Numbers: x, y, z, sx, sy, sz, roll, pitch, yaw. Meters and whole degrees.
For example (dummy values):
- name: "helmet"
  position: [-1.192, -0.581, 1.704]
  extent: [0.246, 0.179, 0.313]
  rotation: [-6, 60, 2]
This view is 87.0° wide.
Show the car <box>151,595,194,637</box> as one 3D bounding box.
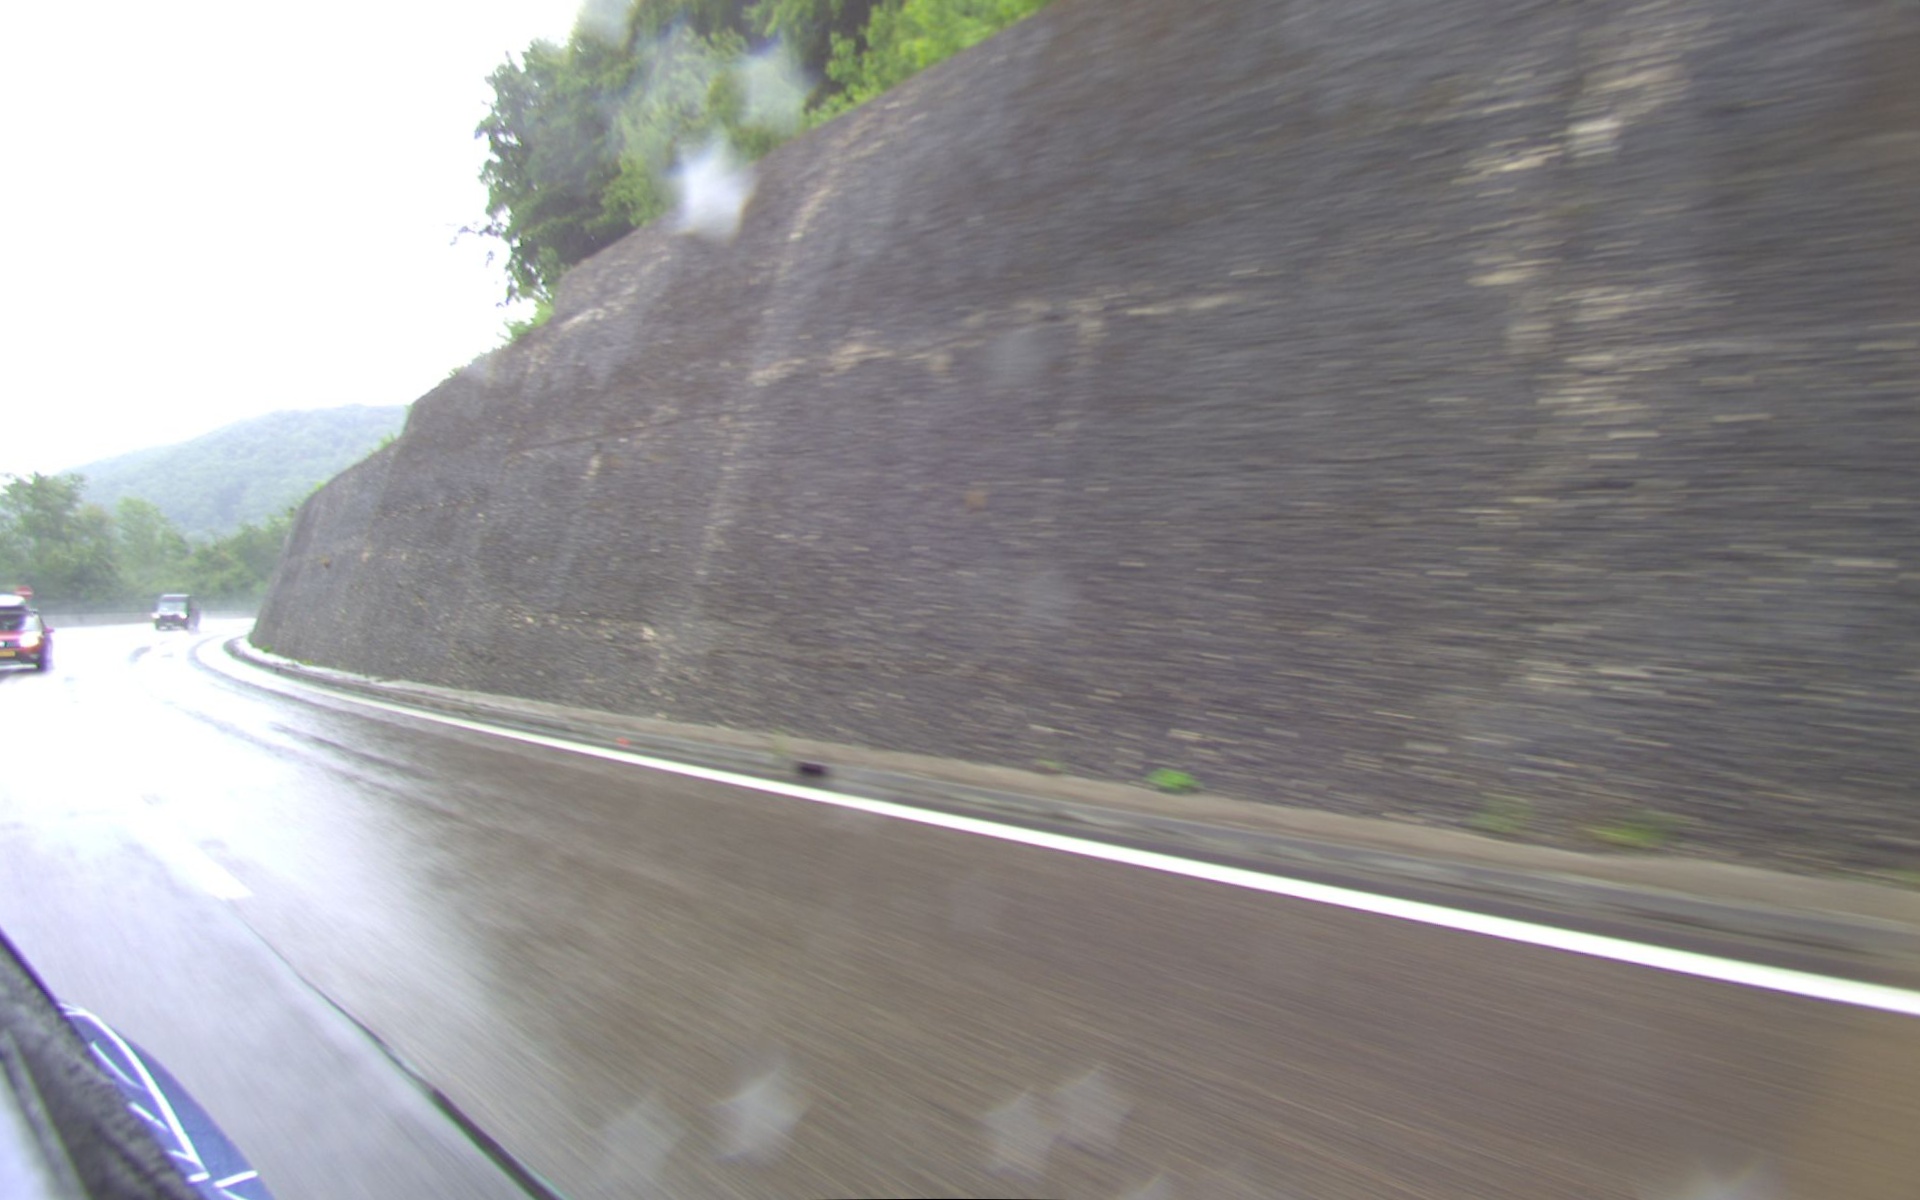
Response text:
- name: "car"
  position: [-59.225, 1.183, 76.174]
  extent: [1.713, 3.048, 4.013]
  rotation: [0, 0, -26]

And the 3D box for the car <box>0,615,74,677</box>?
- name: "car"
  position: [-26.055, 1.203, 27.655]
  extent: [2.323, 1.570, 5.511]
  rotation: [1, -1, -37]
